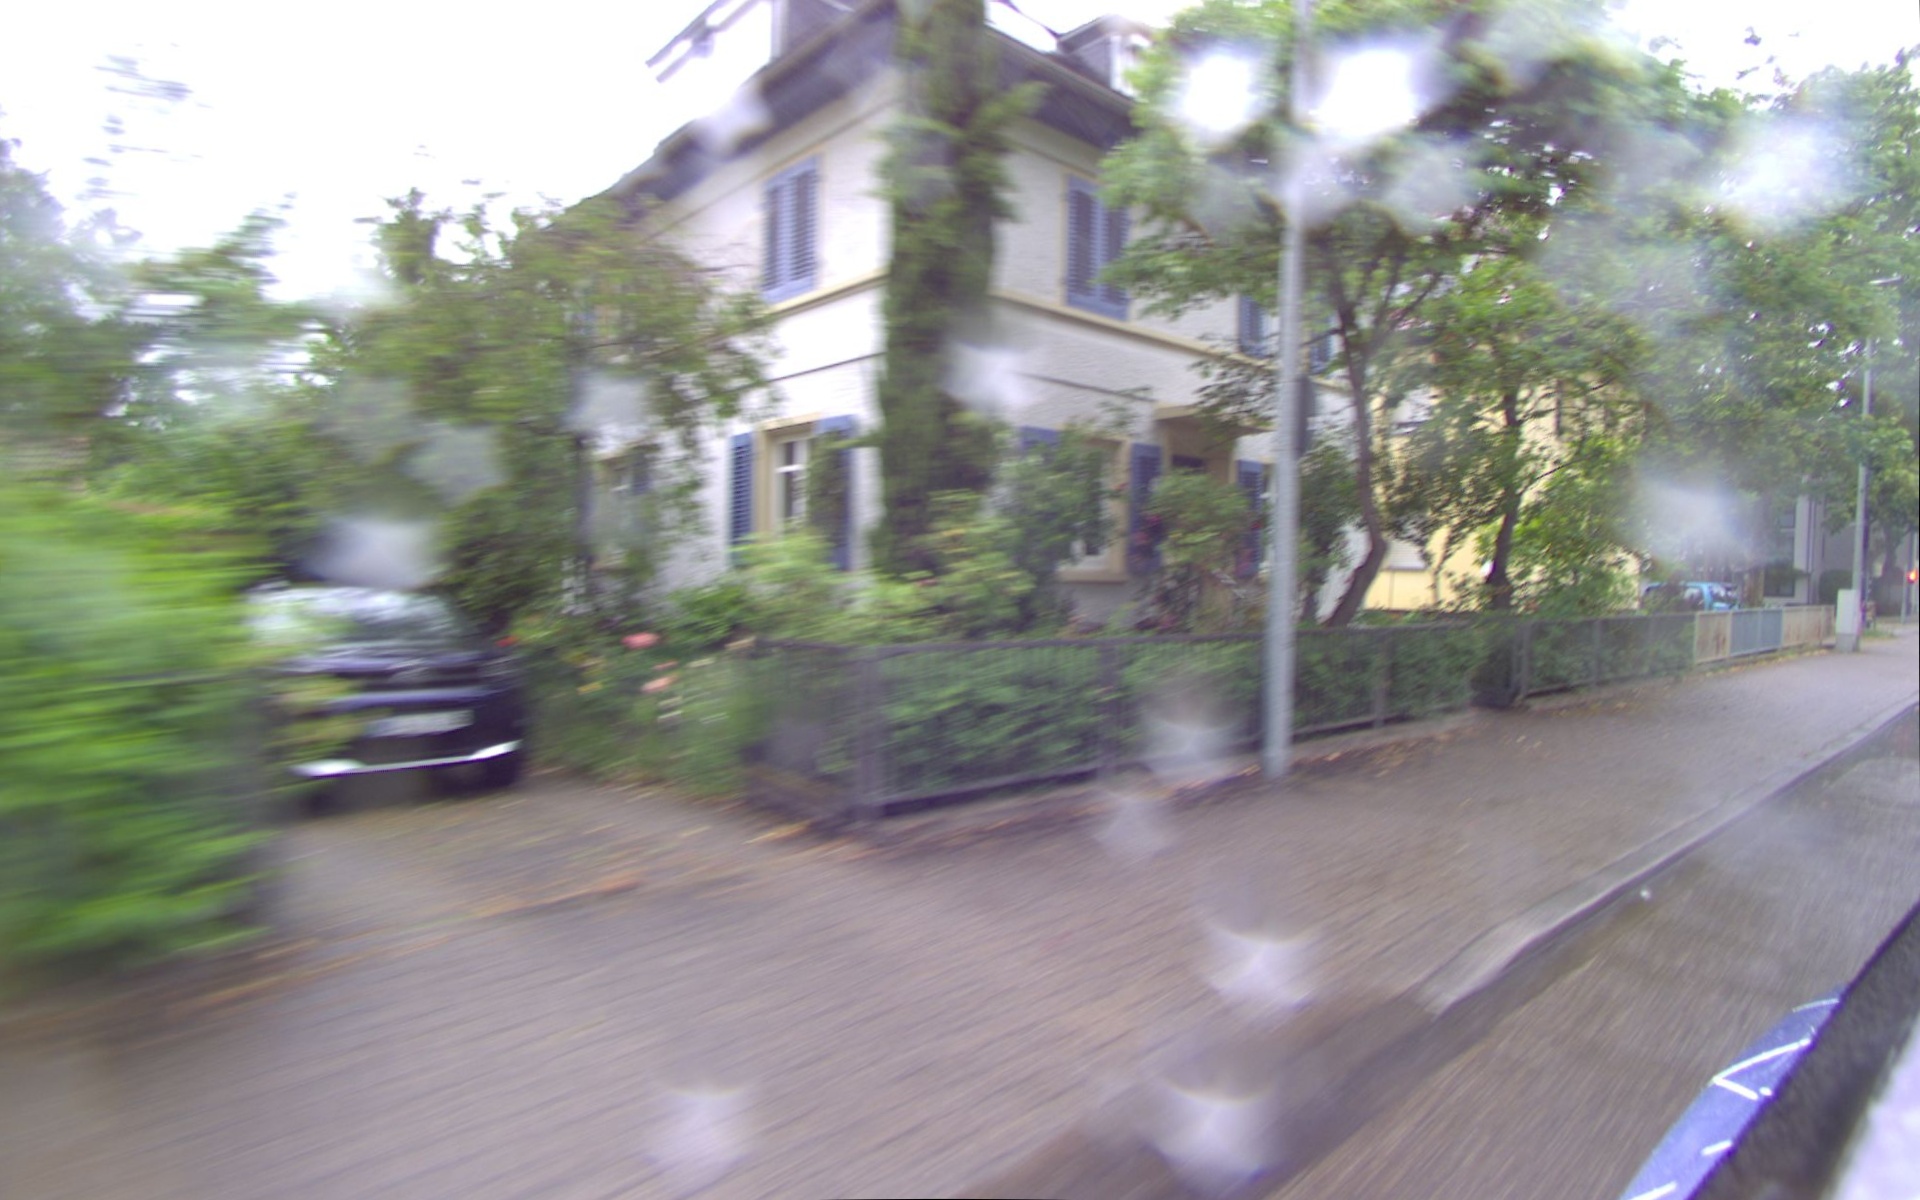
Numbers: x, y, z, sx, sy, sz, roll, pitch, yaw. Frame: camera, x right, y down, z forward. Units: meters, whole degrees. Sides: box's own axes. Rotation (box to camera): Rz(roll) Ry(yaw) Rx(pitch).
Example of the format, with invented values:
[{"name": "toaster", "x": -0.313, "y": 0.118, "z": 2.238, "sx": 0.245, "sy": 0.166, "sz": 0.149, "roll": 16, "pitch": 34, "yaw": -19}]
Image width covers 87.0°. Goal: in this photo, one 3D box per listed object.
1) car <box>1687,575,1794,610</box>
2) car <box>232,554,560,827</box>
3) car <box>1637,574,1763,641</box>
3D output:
[{"name": "car", "x": 40.128, "y": -0.420, "z": 52.080, "sx": 4.215, "sy": 1.708, "sz": 1.683, "roll": 2, "pitch": 2, "yaw": 44}, {"name": "car", "x": -4.697, "y": 0.629, "z": 8.112, "sx": 1.787, "sy": 1.600, "sz": 3.996, "roll": 0, "pitch": -3, "yaw": -37}, {"name": "car", "x": 18.051, "y": 0.136, "z": 24.650, "sx": 3.463, "sy": 1.489, "sz": 1.673, "roll": 0, "pitch": 2, "yaw": -40}]
